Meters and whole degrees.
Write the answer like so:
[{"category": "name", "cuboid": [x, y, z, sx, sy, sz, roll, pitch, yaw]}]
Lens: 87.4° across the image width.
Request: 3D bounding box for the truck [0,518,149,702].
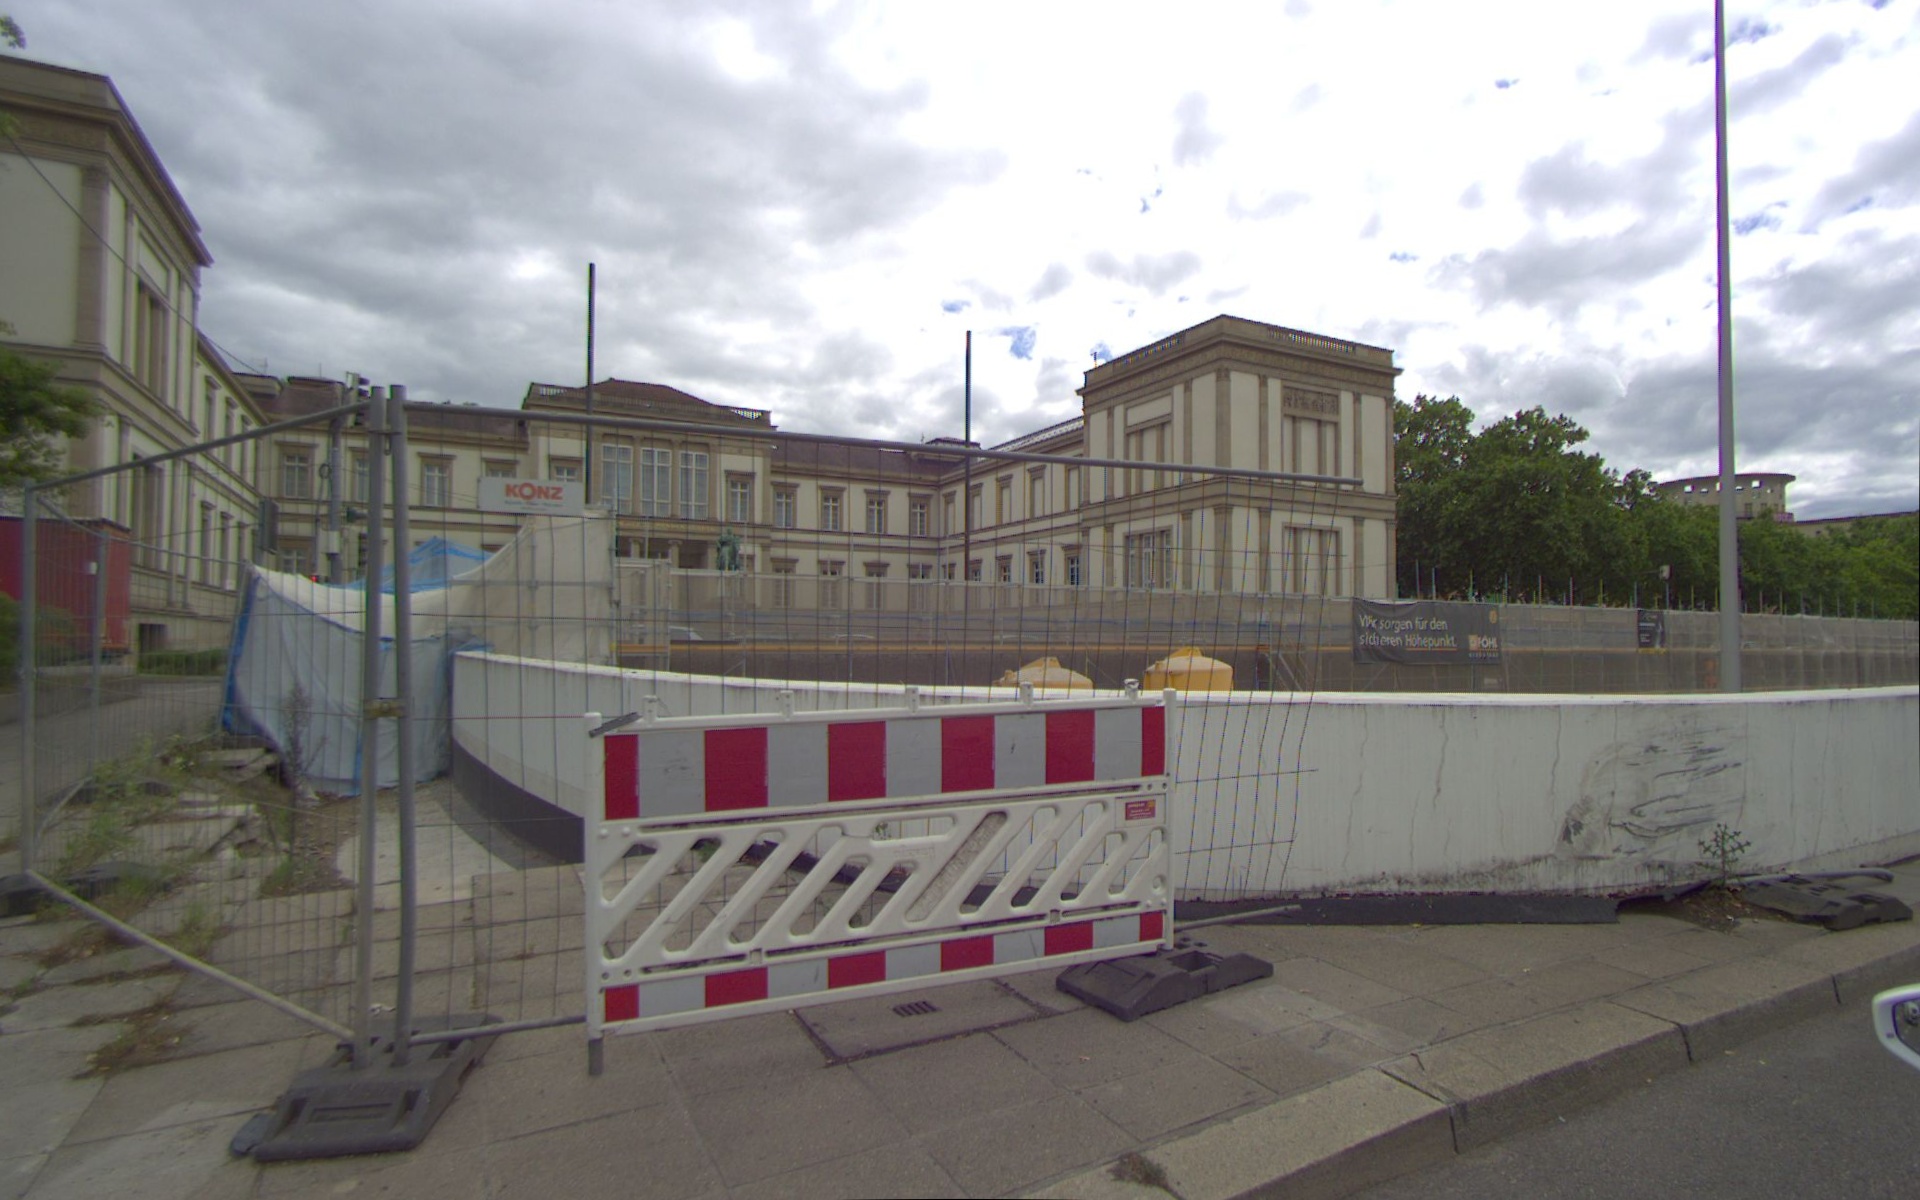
[{"category": "truck", "cuboid": [-27.775, 0.174, 21.025, 16.407, 4.136, 2.906, 1, -3, -28]}]
